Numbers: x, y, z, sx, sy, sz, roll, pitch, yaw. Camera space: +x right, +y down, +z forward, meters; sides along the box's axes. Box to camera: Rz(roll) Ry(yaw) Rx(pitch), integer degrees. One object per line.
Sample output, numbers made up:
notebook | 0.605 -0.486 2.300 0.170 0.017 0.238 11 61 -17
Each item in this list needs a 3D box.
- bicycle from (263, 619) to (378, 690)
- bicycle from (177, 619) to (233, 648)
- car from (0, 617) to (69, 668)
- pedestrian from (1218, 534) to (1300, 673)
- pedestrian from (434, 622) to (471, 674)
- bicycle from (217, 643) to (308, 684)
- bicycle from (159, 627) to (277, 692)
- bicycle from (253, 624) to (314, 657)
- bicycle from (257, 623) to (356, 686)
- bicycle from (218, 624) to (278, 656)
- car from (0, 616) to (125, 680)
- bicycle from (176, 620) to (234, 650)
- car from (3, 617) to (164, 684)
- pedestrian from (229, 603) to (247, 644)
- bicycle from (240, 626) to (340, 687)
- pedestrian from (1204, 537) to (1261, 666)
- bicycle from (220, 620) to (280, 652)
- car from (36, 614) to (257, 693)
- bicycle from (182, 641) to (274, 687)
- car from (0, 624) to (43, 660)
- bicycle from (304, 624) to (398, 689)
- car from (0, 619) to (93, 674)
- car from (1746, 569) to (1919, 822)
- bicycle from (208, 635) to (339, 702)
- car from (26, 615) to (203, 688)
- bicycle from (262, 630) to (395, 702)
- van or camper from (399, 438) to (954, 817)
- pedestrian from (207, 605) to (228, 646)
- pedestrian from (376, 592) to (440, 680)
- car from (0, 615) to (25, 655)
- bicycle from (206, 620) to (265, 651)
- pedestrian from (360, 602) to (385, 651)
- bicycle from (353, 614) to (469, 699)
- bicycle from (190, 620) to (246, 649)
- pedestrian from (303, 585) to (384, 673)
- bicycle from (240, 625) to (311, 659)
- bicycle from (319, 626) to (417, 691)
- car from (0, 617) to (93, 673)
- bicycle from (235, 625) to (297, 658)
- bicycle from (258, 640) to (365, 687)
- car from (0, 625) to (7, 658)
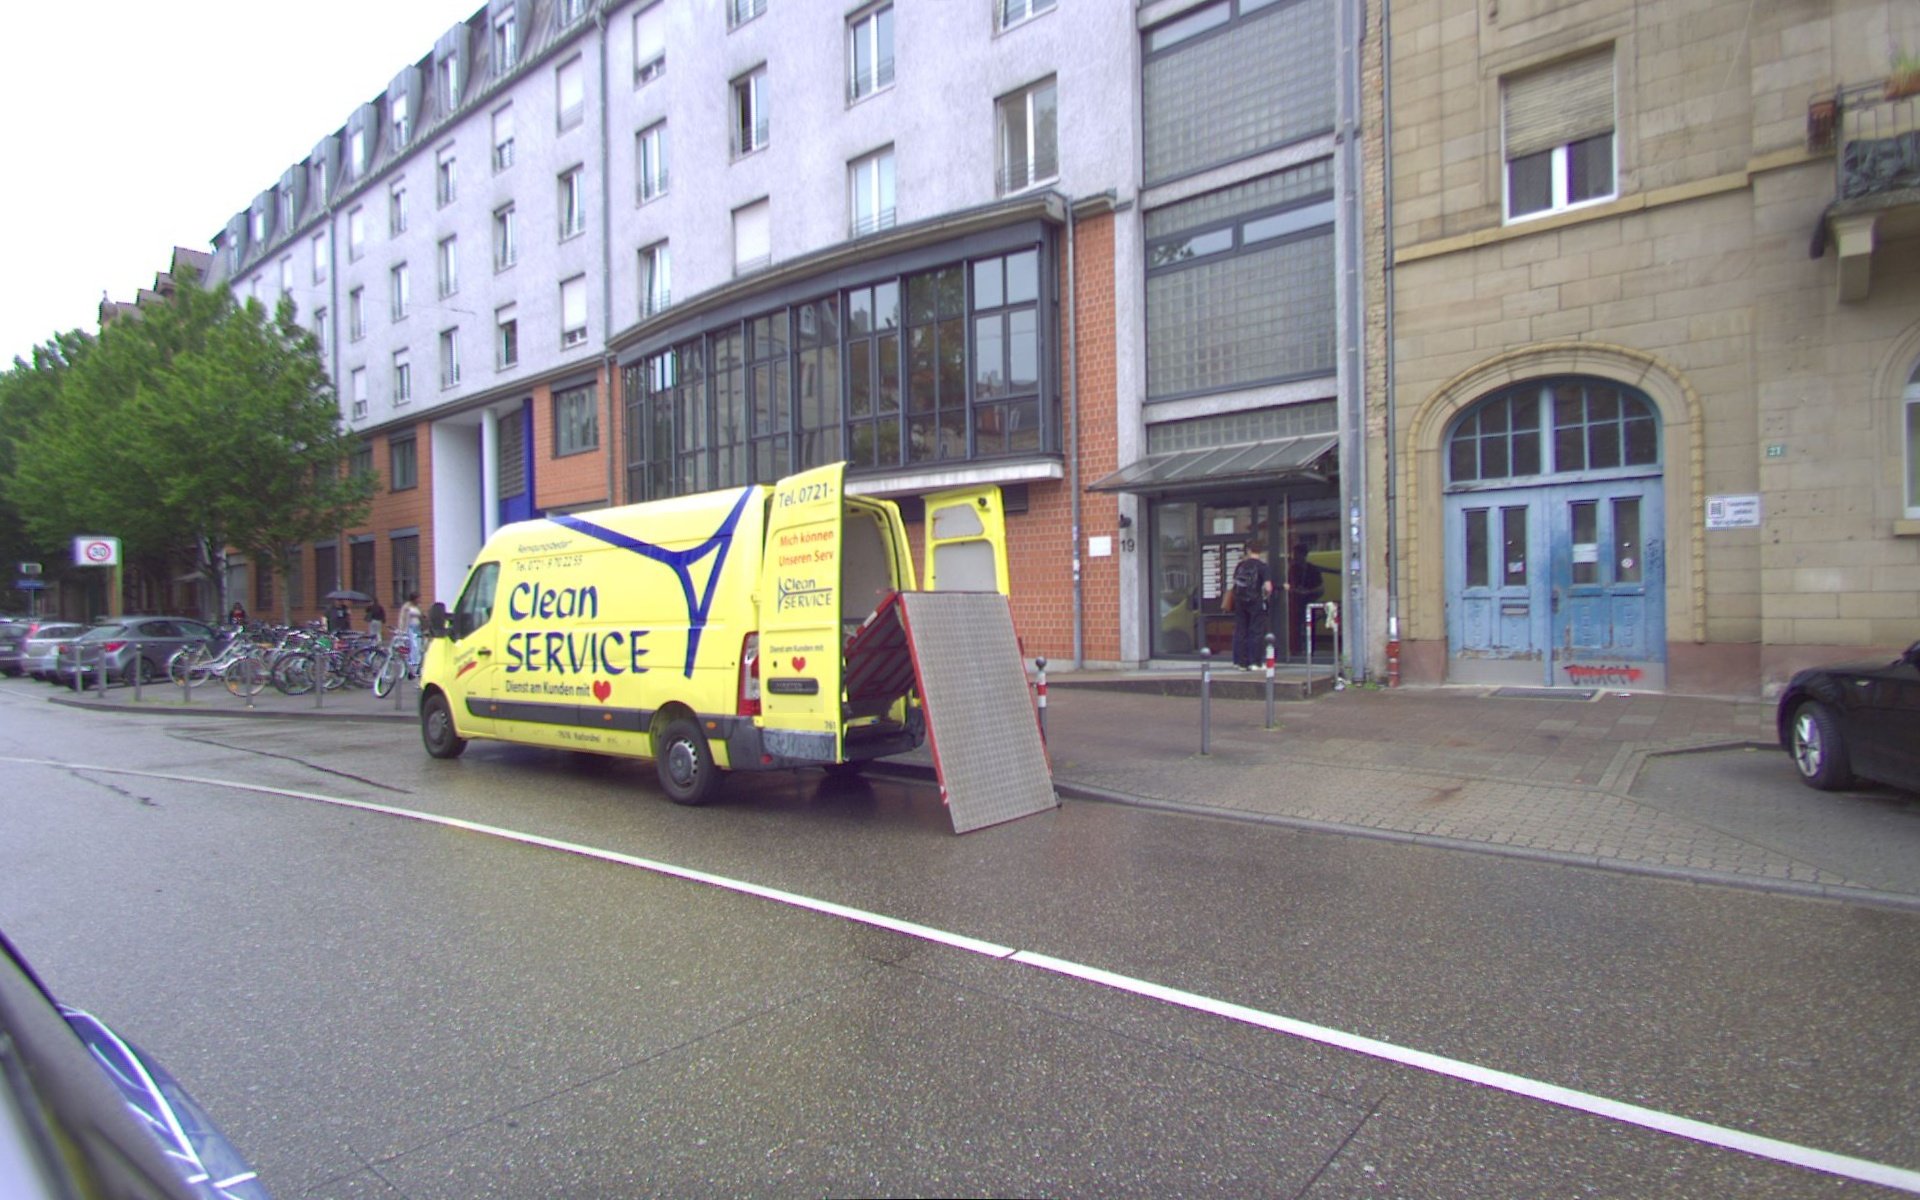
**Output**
bicycle | -12.072 1.002 19.171 0.517 1.203 1.798 -1 1 27
bicycle | -27.710 1.227 37.154 0.464 0.992 1.573 -1 -1 32
car | -30.994 1.375 33.053 1.138 1.567 2.672 -2 0 11
pedestrian | 3.962 0.050 13.393 0.785 1.741 0.997 -1 -1 32
pedestrian | -10.991 1.039 21.929 0.527 1.058 0.479 -2 3 39
bicycle | -14.349 1.292 20.855 0.497 0.727 1.454 -1 1 43
bicycle | -14.548 1.142 19.886 0.472 1.114 1.791 -1 1 36
bicycle | -21.783 1.294 32.608 0.444 0.992 1.573 -1 -1 32
bicycle | -12.938 1.059 20.077 0.518 1.114 1.596 -1 1 27
bicycle | -23.221 1.297 33.029 0.444 0.992 1.573 -1 -1 32
car | -24.634 1.258 27.423 1.432 1.564 3.078 -2 0 0
bicycle | -26.455 1.214 35.496 0.464 0.992 1.573 -1 -1 32
car | -22.224 1.239 25.806 1.432 1.514 3.078 -2 0 0
pedestrian | -28.891 0.938 40.481 0.425 1.622 0.508 -2 -1 41
bicycle | -13.495 1.117 20.424 0.519 1.114 1.591 -1 1 36
pedestrian | 3.803 0.026 14.144 0.467 1.761 0.608 0 -1 -24
bicycle | -23.557 1.189 33.598 0.444 0.992 1.573 -1 -1 32
car | -17.843 1.114 22.423 1.721 1.514 3.613 -1 0 9
bicycle | -15.088 1.298 20.873 0.497 0.811 1.454 -1 1 43
car | -41.387 1.788 43.097 1.662 1.502 3.798 0 -1 -9
bicycle | -11.285 1.029 18.770 1.439 1.111 0.462 -2 1 -36
car | -27.029 1.335 29.592 1.177 1.461 2.502 -2 0 0
car | 6.591 0.559 5.493 1.777 1.523 4.035 -1 -1 7
bicycle | -11.807 1.151 17.466 0.519 1.000 1.778 -1 1 38
car | -20.133 1.185 24.243 1.436 1.514 3.070 -2 0 9
bicycle | -10.805 1.097 17.356 1.832 1.081 0.610 -2 1 -44
van or camper | -3.029 0.255 9.766 5.936 2.631 2.174 -1 -2 40
pedestrian | -29.446 1.008 40.118 0.372 1.622 0.598 -1 -1 39
pedestrian | -11.535 0.738 21.147 0.859 1.719 0.817 -2 3 41
car | -46.637 1.659 47.451 1.666 1.910 4.329 -1 -1 -1
bicycle | -24.511 1.197 34.273 0.464 0.992 1.573 -1 -1 32
pedestrian | -18.730 0.831 32.251 0.547 1.541 0.509 -2 -2 37
bicycle | -9.231 0.918 17.110 0.760 1.225 1.917 -1 3 5
bicycle | -26.758 1.222 36.523 0.464 0.992 1.573 -1 -1 32
pedestrian | -14.410 0.661 23.656 1.055 1.894 1.213 -2 3 40
bicycle | -21.330 1.283 31.568 0.444 0.992 1.830 -1 -1 32
bicycle | -10.682 1.037 18.286 0.418 1.072 1.442 -1 1 44
car | -28.892 1.376 31.270 1.358 1.567 2.971 -2 0 11
bicycle | -21.770 1.286 31.781 0.444 0.992 1.573 -1 -1 32
bicycle | -12.503 1.210 19.568 0.455 0.767 1.757 -1 1 27
car | -43.886 1.859 44.035 1.662 1.502 3.798 0 -1 -9
